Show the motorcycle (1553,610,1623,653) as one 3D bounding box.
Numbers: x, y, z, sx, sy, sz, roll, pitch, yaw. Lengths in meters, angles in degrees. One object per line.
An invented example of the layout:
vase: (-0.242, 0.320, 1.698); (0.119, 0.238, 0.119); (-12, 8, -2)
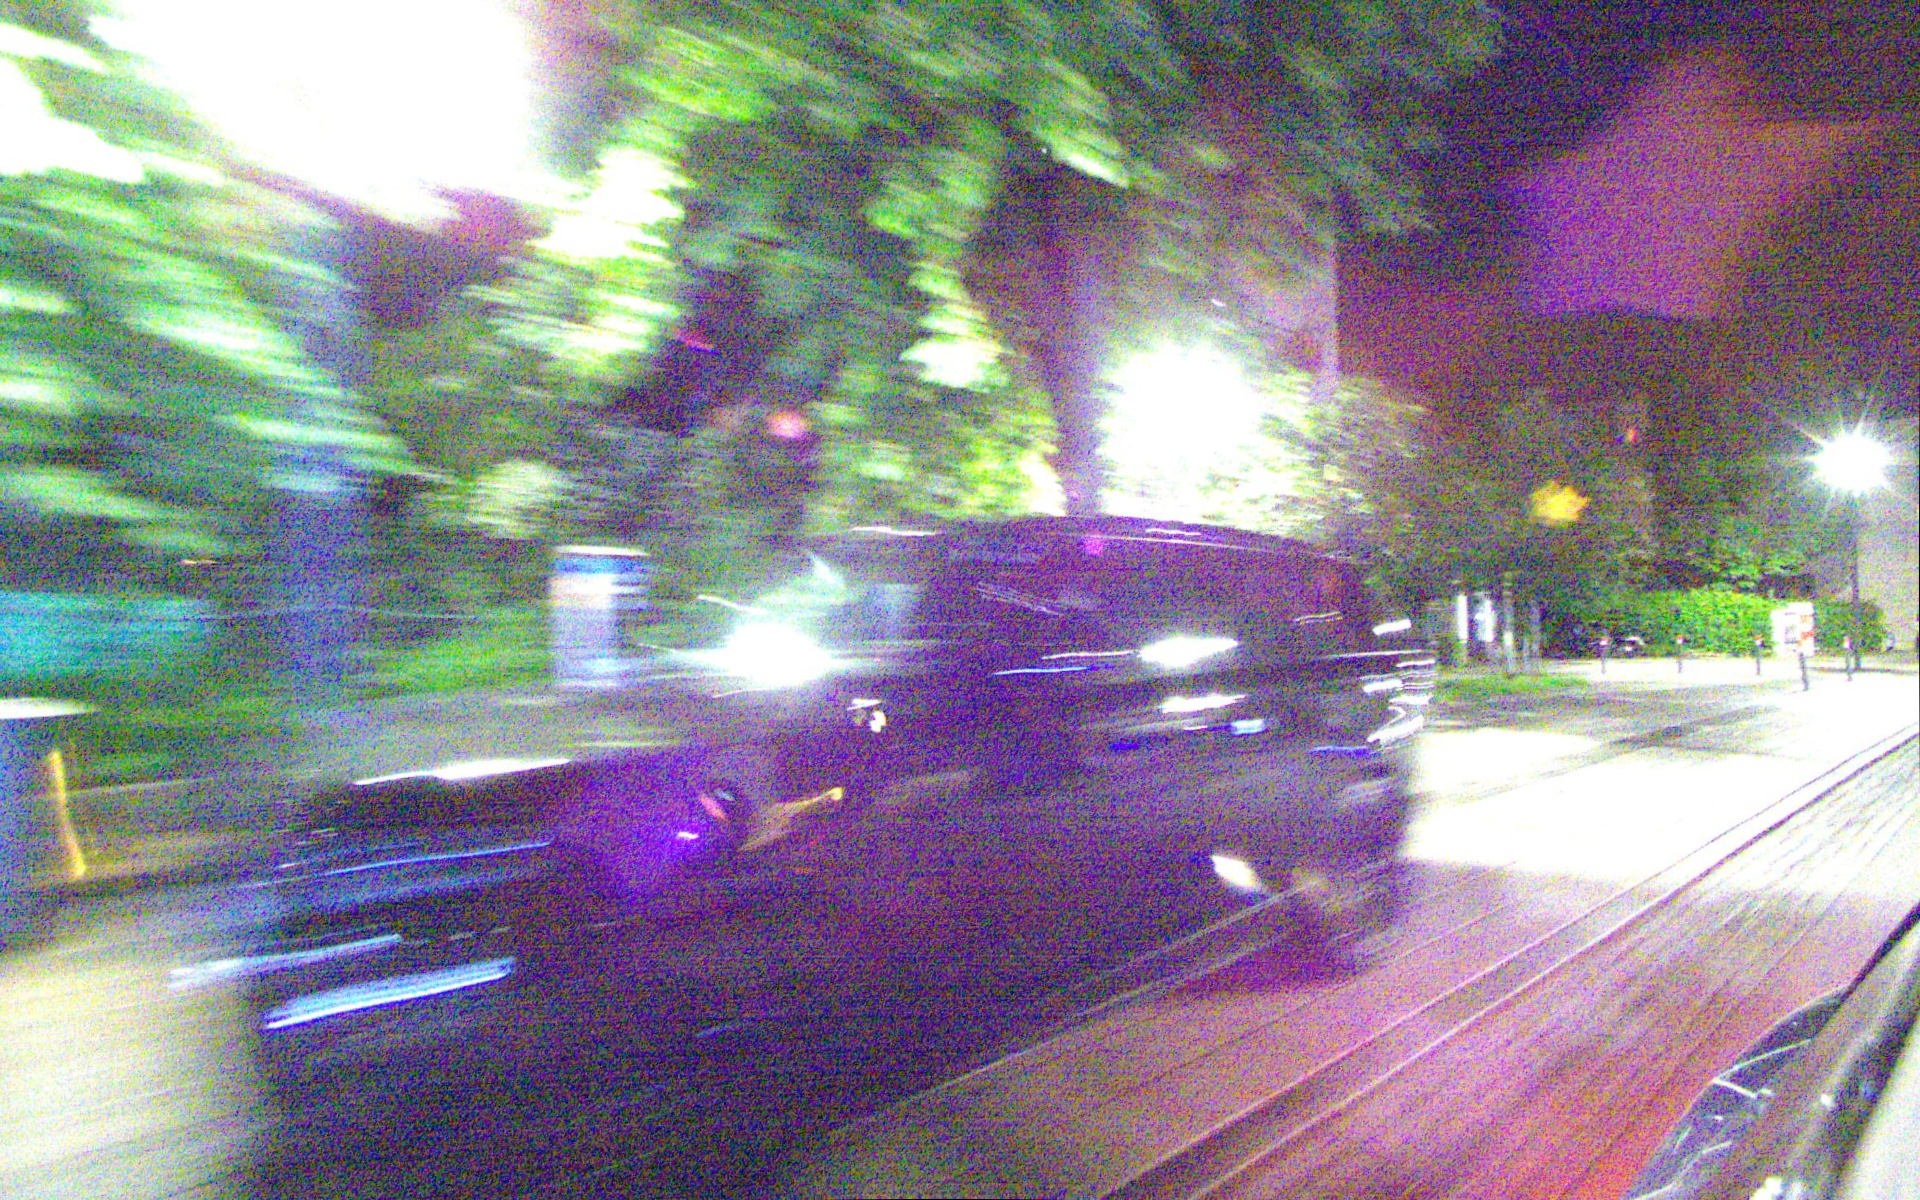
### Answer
motorcycle: (18.905, 0.936, 30.479); (1.718, 1.267, 0.426); (-1, -1, 42)

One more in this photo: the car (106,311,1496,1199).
car: (0.027, 0.517, 3.763); (4.852, 1.826, 1.910); (0, -1, -42)
